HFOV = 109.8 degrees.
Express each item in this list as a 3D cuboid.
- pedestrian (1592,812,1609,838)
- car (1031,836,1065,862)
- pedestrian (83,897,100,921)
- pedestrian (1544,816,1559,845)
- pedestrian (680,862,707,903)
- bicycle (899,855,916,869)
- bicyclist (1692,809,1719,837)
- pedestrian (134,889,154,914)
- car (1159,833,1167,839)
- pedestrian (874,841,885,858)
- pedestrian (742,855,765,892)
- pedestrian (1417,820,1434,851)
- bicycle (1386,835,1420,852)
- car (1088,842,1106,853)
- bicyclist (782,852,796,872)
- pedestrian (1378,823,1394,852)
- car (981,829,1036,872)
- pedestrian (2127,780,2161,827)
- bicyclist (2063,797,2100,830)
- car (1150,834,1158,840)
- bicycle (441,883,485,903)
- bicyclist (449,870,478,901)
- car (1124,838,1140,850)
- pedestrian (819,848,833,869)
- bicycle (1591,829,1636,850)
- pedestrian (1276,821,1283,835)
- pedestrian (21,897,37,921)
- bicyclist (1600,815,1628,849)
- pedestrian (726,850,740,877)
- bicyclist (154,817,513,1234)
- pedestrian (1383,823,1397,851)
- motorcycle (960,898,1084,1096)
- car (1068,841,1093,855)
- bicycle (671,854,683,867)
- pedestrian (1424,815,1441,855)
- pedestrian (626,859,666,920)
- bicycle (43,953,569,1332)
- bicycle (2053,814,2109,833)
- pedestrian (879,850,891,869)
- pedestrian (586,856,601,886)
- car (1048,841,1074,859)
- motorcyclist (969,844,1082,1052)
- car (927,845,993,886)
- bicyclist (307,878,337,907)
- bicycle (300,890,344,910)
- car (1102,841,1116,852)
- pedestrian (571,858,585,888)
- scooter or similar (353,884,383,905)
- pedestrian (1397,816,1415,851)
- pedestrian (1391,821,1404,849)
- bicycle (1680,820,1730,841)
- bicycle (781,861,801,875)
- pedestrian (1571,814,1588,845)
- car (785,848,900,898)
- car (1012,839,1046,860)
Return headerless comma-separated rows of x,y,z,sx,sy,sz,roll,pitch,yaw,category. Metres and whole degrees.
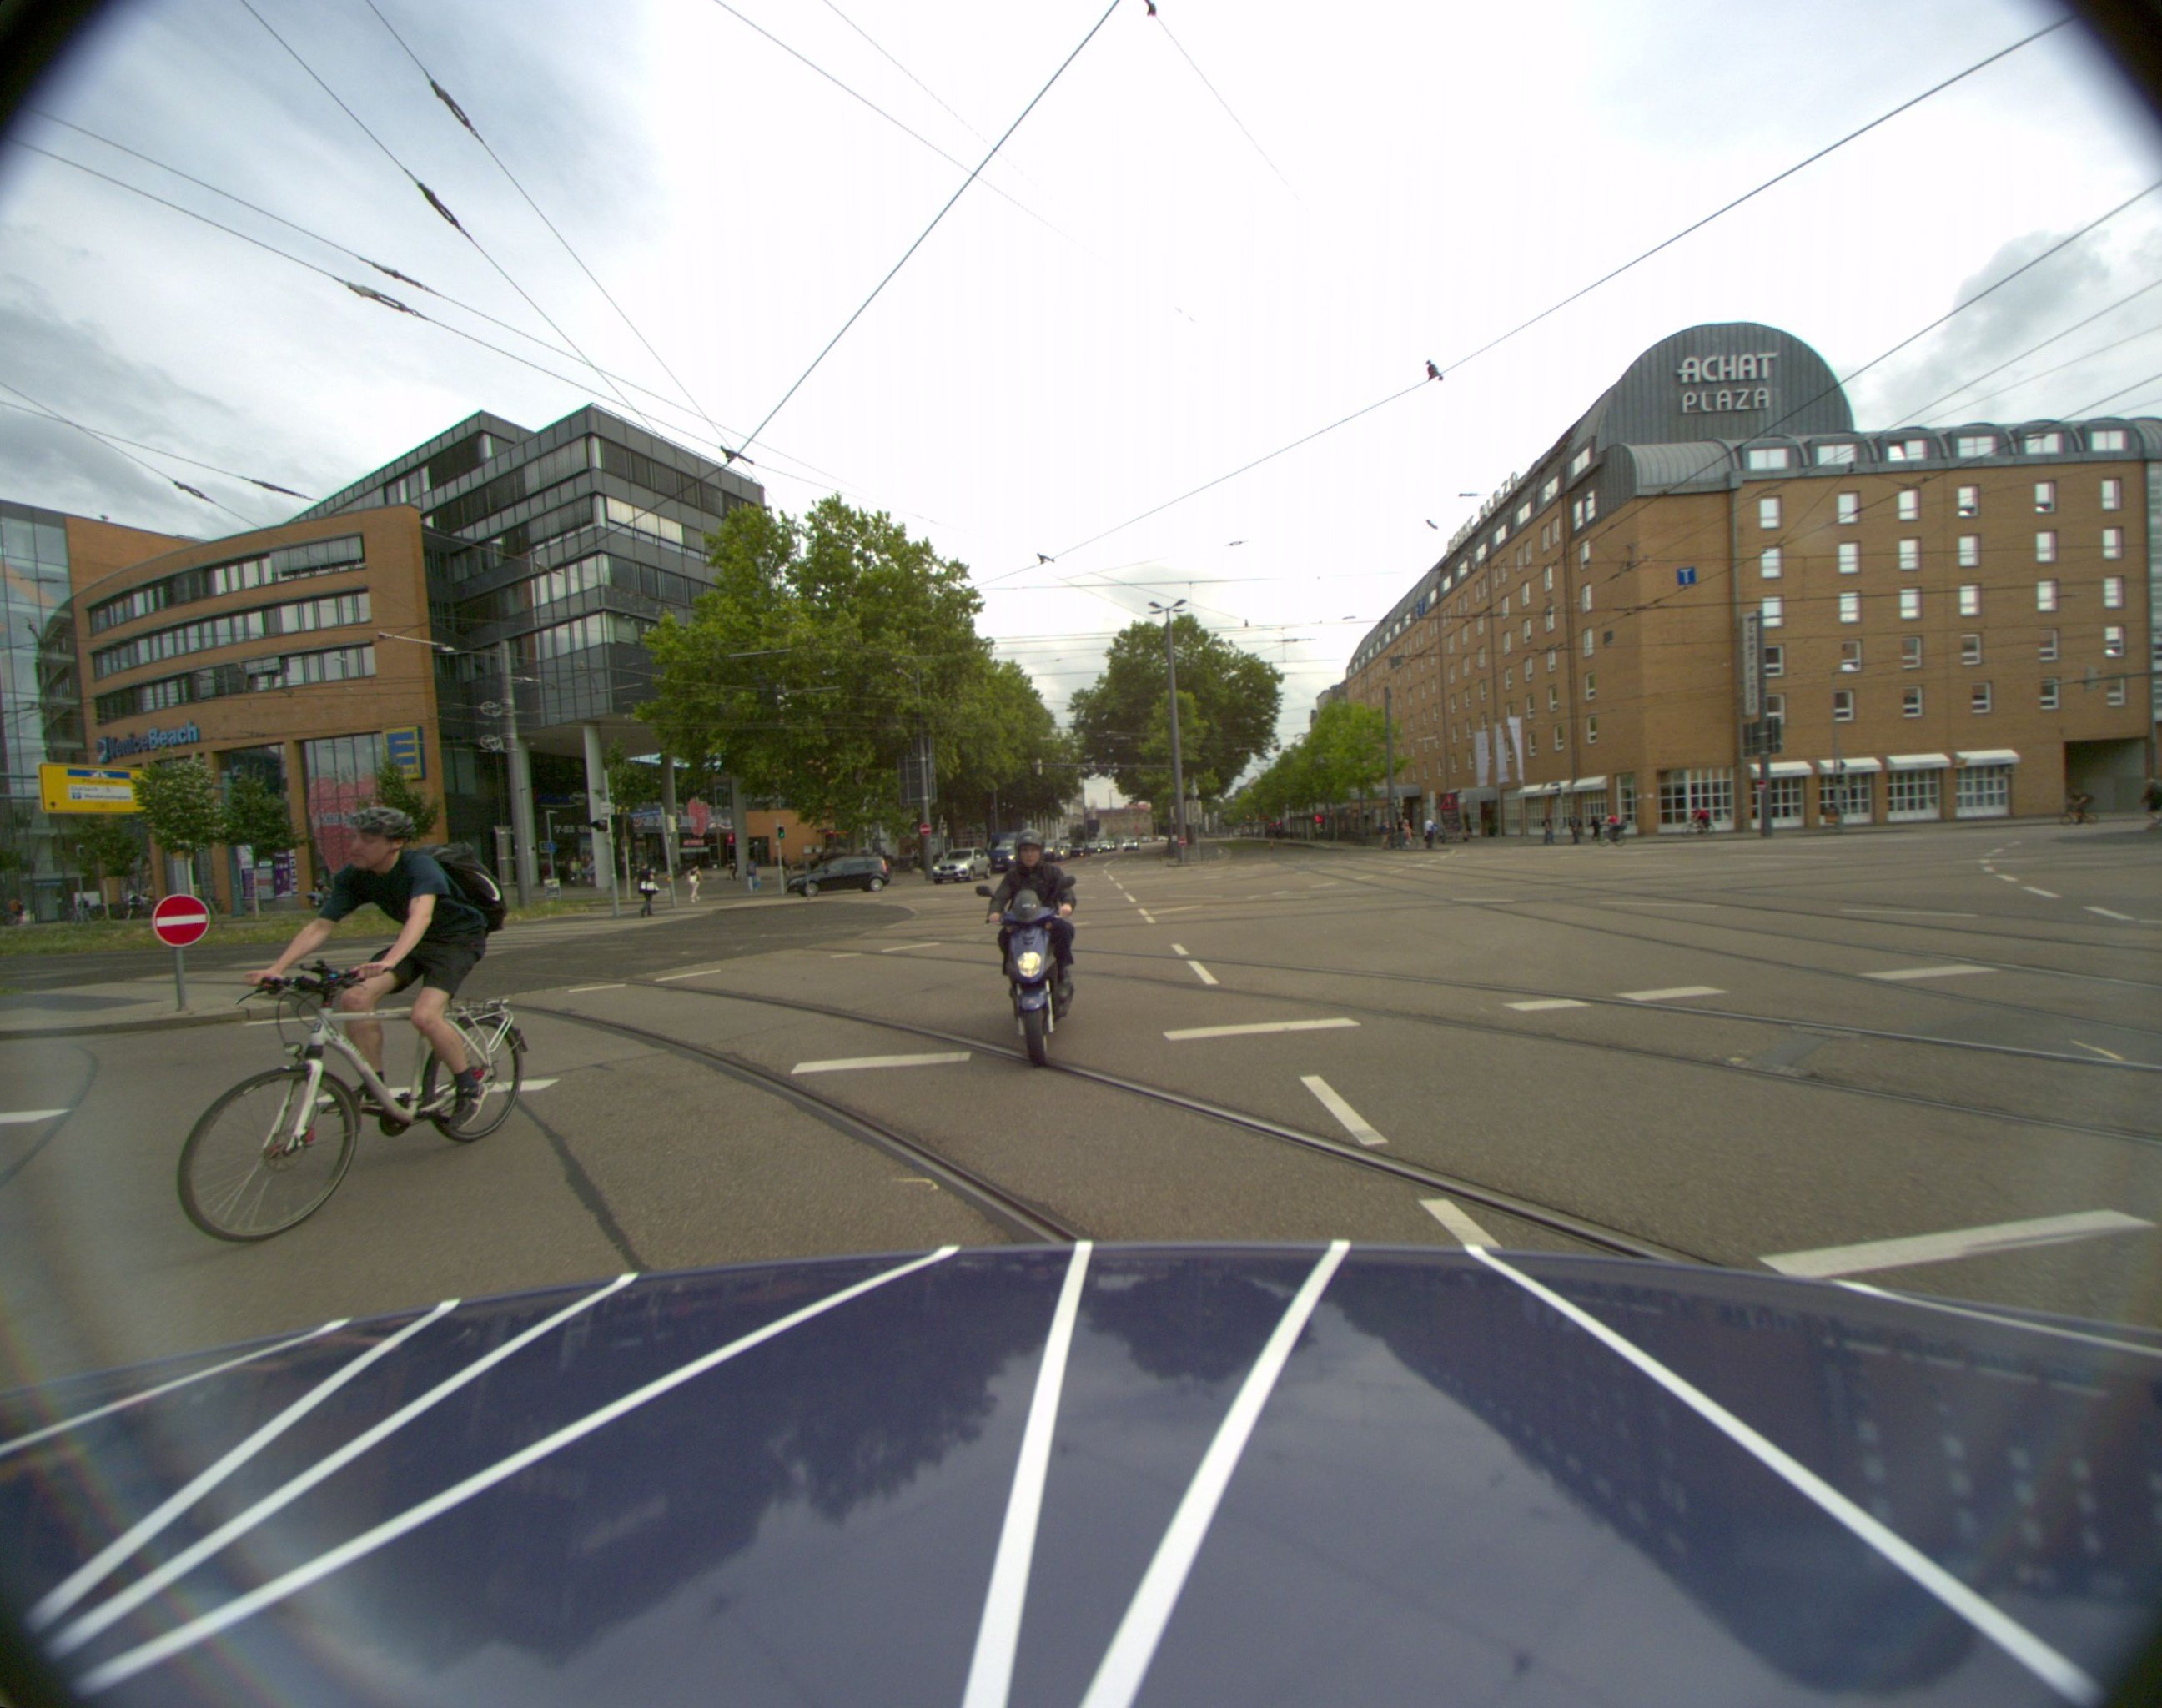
30.226,-1.695,44.237,0.535,1.499,0.648,-5,3,-33,pedestrian
-2.745,-0.439,64.957,1.998,2.002,5.437,-3,1,6,car
-66.055,3.666,50.724,0.446,1.590,0.486,-2,3,25,pedestrian
27.789,-1.404,44.890,0.563,1.697,0.535,-3,3,4,pedestrian
-16.590,1.210,32.524,0.587,1.642,0.744,-3,2,10,pedestrian
-12.877,0.592,56.515,0.535,0.912,1.723,-3,2,12,bicycle
33.684,-1.667,40.988,0.865,1.493,0.636,-3,2,3,bicyclist
-60.869,3.089,49.368,0.446,1.590,0.617,-2,3,25,pedestrian
23.163,-5.178,215.080,1.668,1.699,3.998,-3,2,-1,car
-18.305,-0.374,69.008,0.586,1.502,0.683,-2,3,25,pedestrian
-16.050,0.949,37.244,0.587,1.722,0.744,-3,2,10,pedestrian
19.141,-1.011,42.246,0.564,1.697,0.578,-3,3,-7,pedestrian
18.449,-0.624,43.552,1.710,0.884,0.499,-3,2,4,bicycle
2.101,-0.839,97.419,1.712,1.270,4.001,-3,2,8,car
-21.236,0.567,55.289,0.531,1.425,0.739,-3,2,12,bicyclist
18.236,-1.009,45.401,0.684,1.697,0.534,-3,3,-7,pedestrian
-4.556,-0.309,48.980,2.174,2.442,6.997,-3,2,5,car
40.782,-1.927,29.043,0.578,1.722,0.750,-3,2,-5,pedestrian
46.194,-1.863,35.097,0.865,1.493,0.636,-3,2,-1,bicyclist
20.640,-4.836,214.765,1.668,1.699,3.998,-3,2,-1,car
-33.853,2.130,41.601,2.002,1.005,0.638,-3,2,8,bicycle
-33.771,1.715,41.579,0.977,1.607,0.638,-3,2,8,bicyclist
6.494,-1.284,96.002,1.845,1.369,3.834,-3,0,6,car
-21.003,0.359,62.620,0.586,1.722,0.745,-1,3,45,pedestrian
24.399,-0.680,34.840,0.659,0.931,1.892,-3,2,-3,bicycle
24.327,-3.208,93.108,0.648,1.696,0.624,-3,2,6,pedestrian
-72.335,3.793,52.244,0.484,1.590,0.447,-3,2,18,pedestrian
24.388,-1.019,34.769,0.651,1.493,0.817,-3,2,-3,bicyclist
-24.110,0.680,52.683,0.545,1.856,0.515,-2,2,29,pedestrian
-3.552,0.725,3.740,0.591,1.760,1.035,-3,2,2,bicyclist
19.115,-1.076,47.057,0.564,1.697,0.534,-3,3,-7,pedestrian
-0.406,1.029,6.223,0.769,1.101,2.207,-3,2,-1,motorcycle
-0.023,-0.704,82.063,1.997,1.270,4.001,-3,2,8,car
-29.540,0.491,55.571,0.536,0.912,1.560,-5,3,-36,bicycle
19.046,-1.037,41.180,0.564,2.118,0.534,-3,3,-7,pedestrian
-13.069,1.057,22.856,0.678,1.781,0.669,-3,2,3,pedestrian
-3.531,1.211,3.781,0.595,1.132,1.858,-3,1,2,bicycle
46.197,-1.418,35.115,1.796,0.777,0.640,-3,2,-1,bicycle
-16.298,0.426,63.142,0.587,1.502,0.683,-3,3,13,pedestrian
-30.821,1.094,48.046,0.513,1.856,0.547,-2,2,35,pedestrian
-1.896,-0.434,72.414,1.915,1.534,4.093,-3,1,6,car
-0.420,0.703,6.217,0.761,1.511,1.017,-3,2,-1,motorcyclist
-5.866,0.509,37.542,1.963,1.652,4.639,-5,1,6,car
-43.069,2.181,43.099,0.977,1.607,0.638,-3,3,8,bicyclist
-43.080,2.598,43.111,2.002,1.005,0.638,-3,2,8,bicycle
3.923,-1.084,106.437,1.575,1.270,3.733,-3,2,8,car
-31.811,1.209,48.054,0.627,1.856,0.671,-4,2,-34,pedestrian
-42.016,2.367,44.802,1.472,1.161,0.486,-3,3,14,scooter or similar
18.456,-1.161,43.171,0.693,1.941,0.534,-3,3,-1,pedestrian
19.955,-1.190,47.903,0.564,1.697,0.534,-3,3,-7,pedestrian
33.672,-1.288,41.008,2.058,1.003,0.640,-3,2,3,bicycle
-21.176,1.024,55.500,0.535,0.912,1.541,-3,2,12,bicycle
28.043,-1.367,42.735,0.563,1.697,0.534,-3,2,1,pedestrian
-10.057,0.769,32.156,4.185,1.729,1.960,-5,2,-32,car
-3.848,-0.360,56.871,1.756,1.410,4.274,-2,2,6,car
